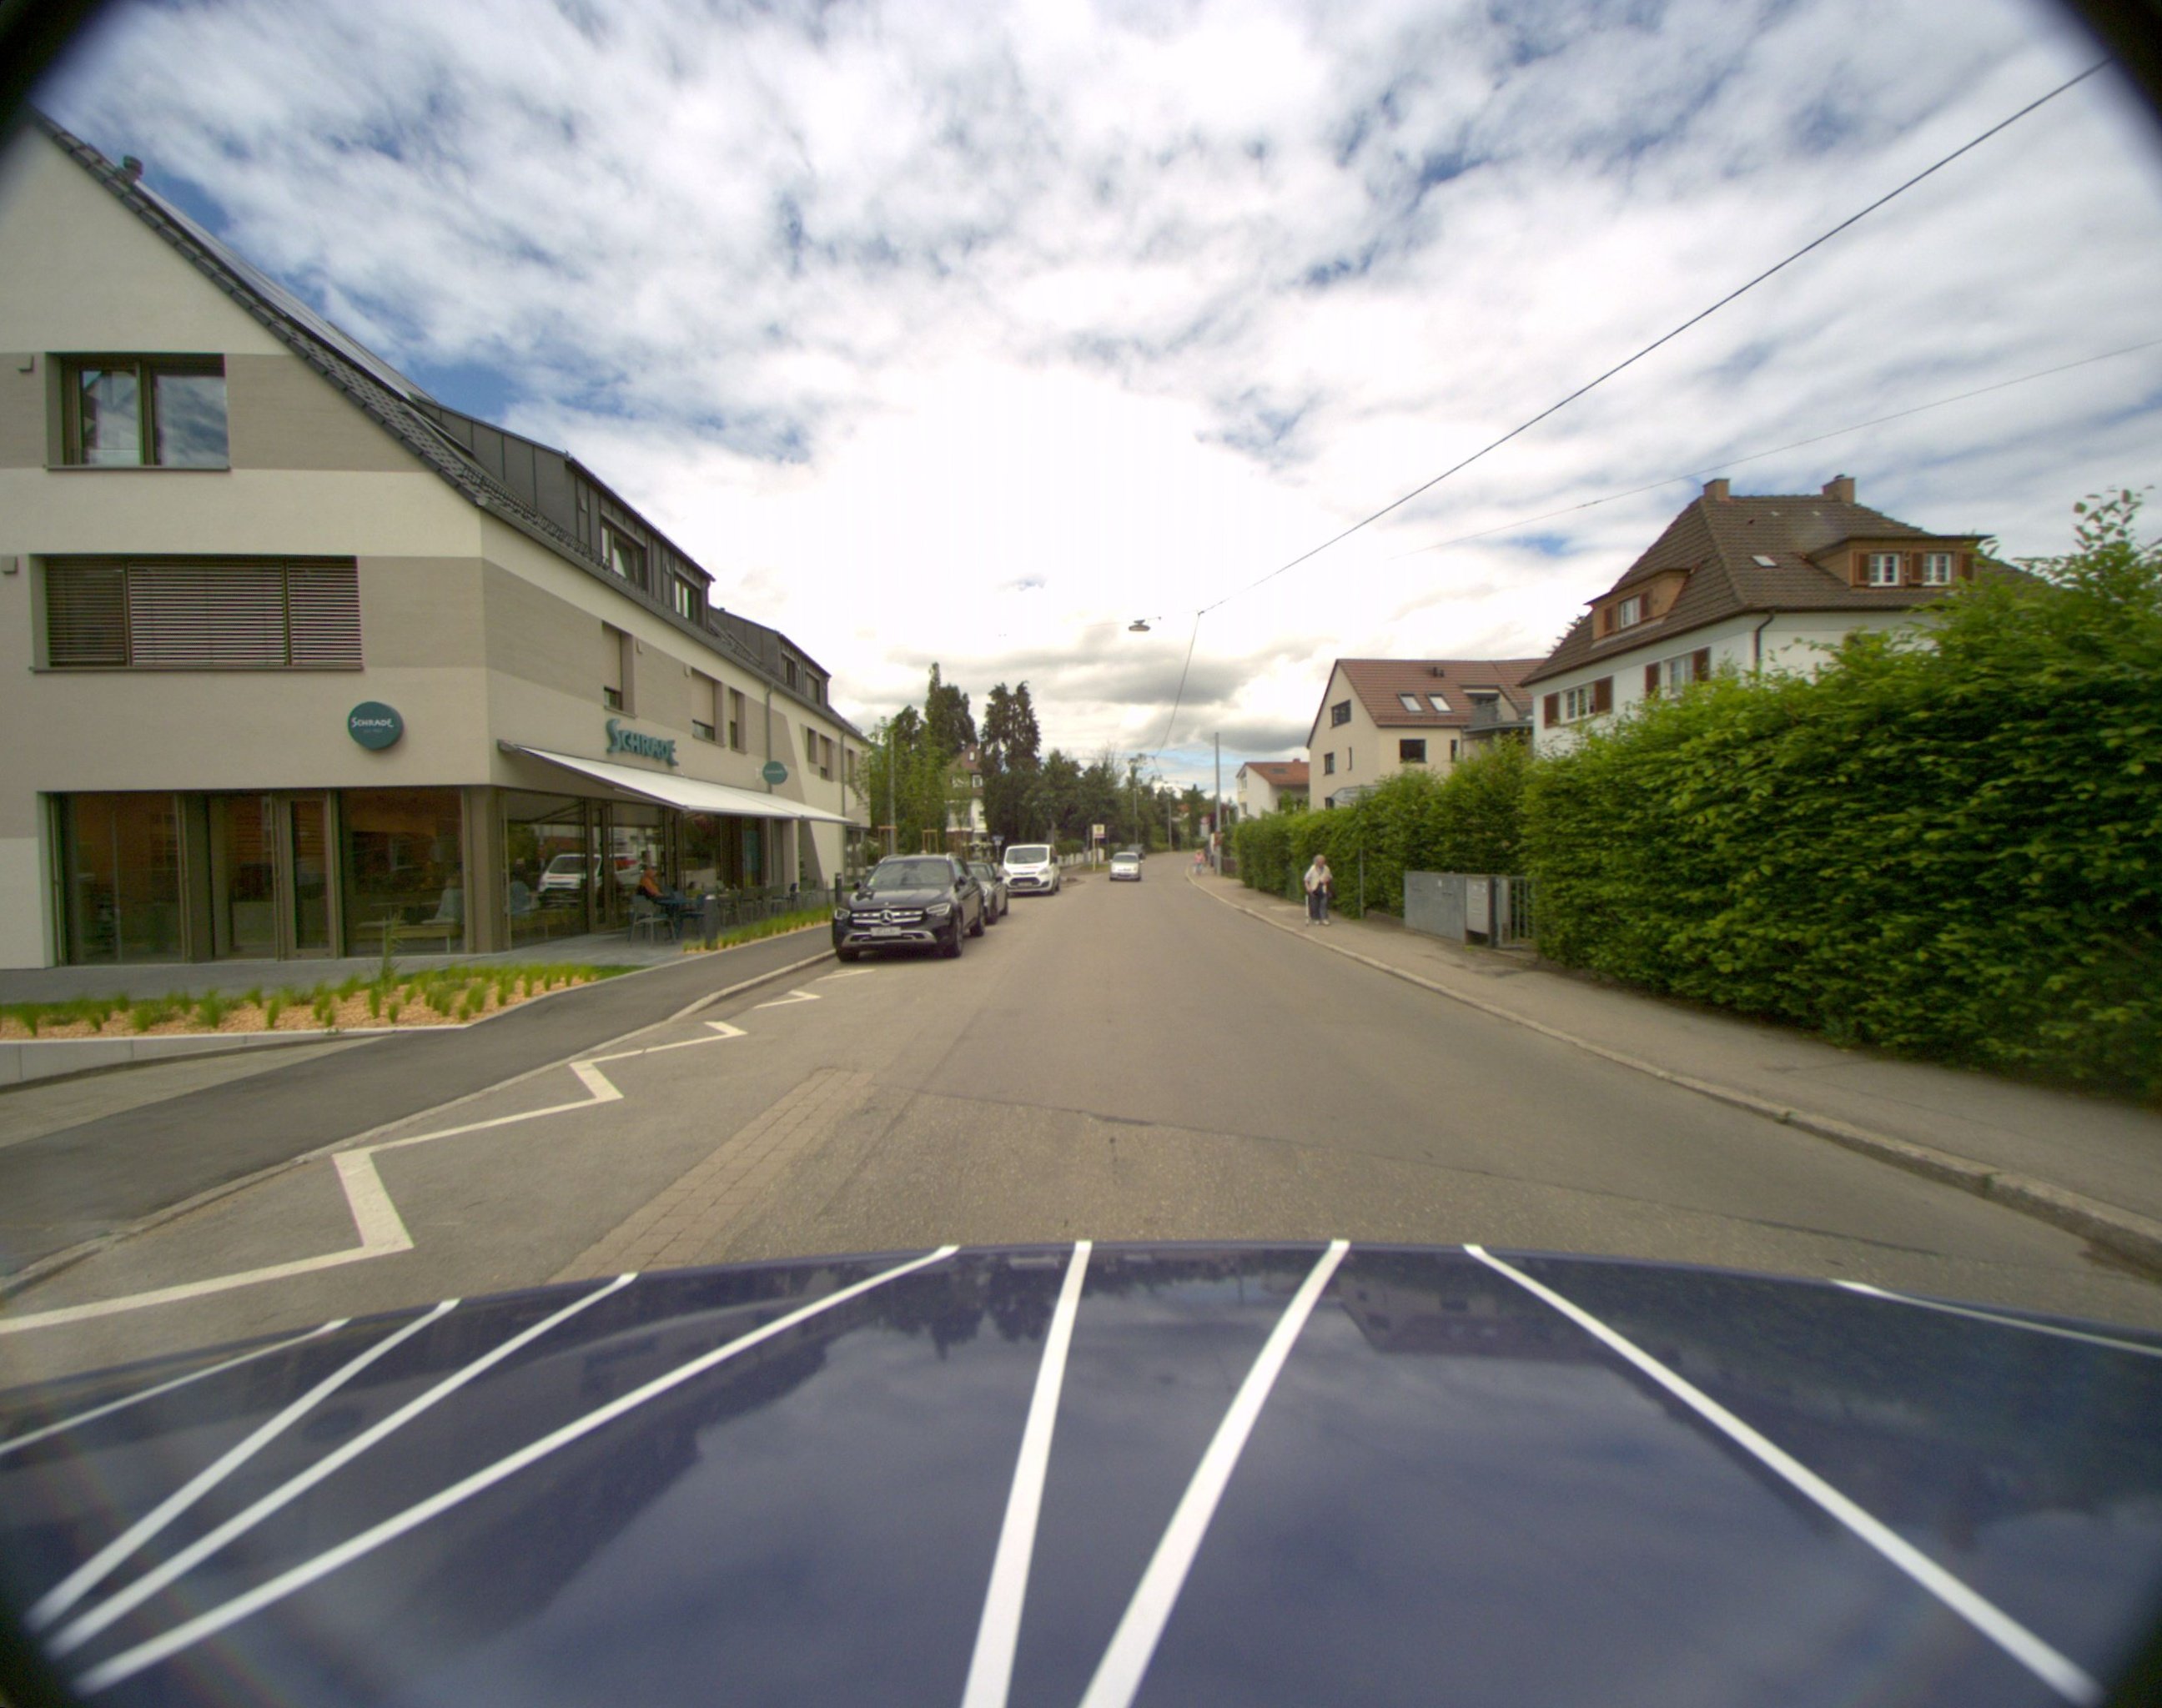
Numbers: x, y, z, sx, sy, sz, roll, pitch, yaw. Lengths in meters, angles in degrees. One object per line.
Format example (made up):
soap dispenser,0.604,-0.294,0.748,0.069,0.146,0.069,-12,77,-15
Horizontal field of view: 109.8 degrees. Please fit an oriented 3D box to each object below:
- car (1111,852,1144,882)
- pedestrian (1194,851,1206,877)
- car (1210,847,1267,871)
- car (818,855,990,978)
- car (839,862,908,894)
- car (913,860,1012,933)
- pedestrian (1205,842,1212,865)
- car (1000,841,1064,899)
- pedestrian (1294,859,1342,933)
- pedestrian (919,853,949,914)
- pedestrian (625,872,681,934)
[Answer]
car,2.570,0.697,43.092,1.725,1.559,3.927,-1,1,2
pedestrian,7.284,0.604,46.653,0.619,1.590,0.608,-1,1,1
car,11.952,0.357,57.817,3.996,1.718,1.885,-1,1,4
car,-2.769,0.884,12.960,1.852,1.627,4.465,-2,0,0
car,-13.093,1.490,48.145,3.844,1.587,1.875,-5,1,-5
car,-2.739,0.933,18.352,1.711,1.444,3.835,-2,0,1
pedestrian,10.748,-0.033,64.091,0.535,1.940,0.528,-1,1,11
car,-1.844,0.549,30.381,1.998,2.002,5.567,-3,0,1
pedestrian,5.074,0.876,16.305,0.749,1.522,0.544,-3,1,-11
pedestrian,-4.086,0.810,21.161,0.678,1.659,0.660,0,1,2
pedestrian,-8.953,1.006,15.913,0.753,1.231,0.691,-1,1,-4
